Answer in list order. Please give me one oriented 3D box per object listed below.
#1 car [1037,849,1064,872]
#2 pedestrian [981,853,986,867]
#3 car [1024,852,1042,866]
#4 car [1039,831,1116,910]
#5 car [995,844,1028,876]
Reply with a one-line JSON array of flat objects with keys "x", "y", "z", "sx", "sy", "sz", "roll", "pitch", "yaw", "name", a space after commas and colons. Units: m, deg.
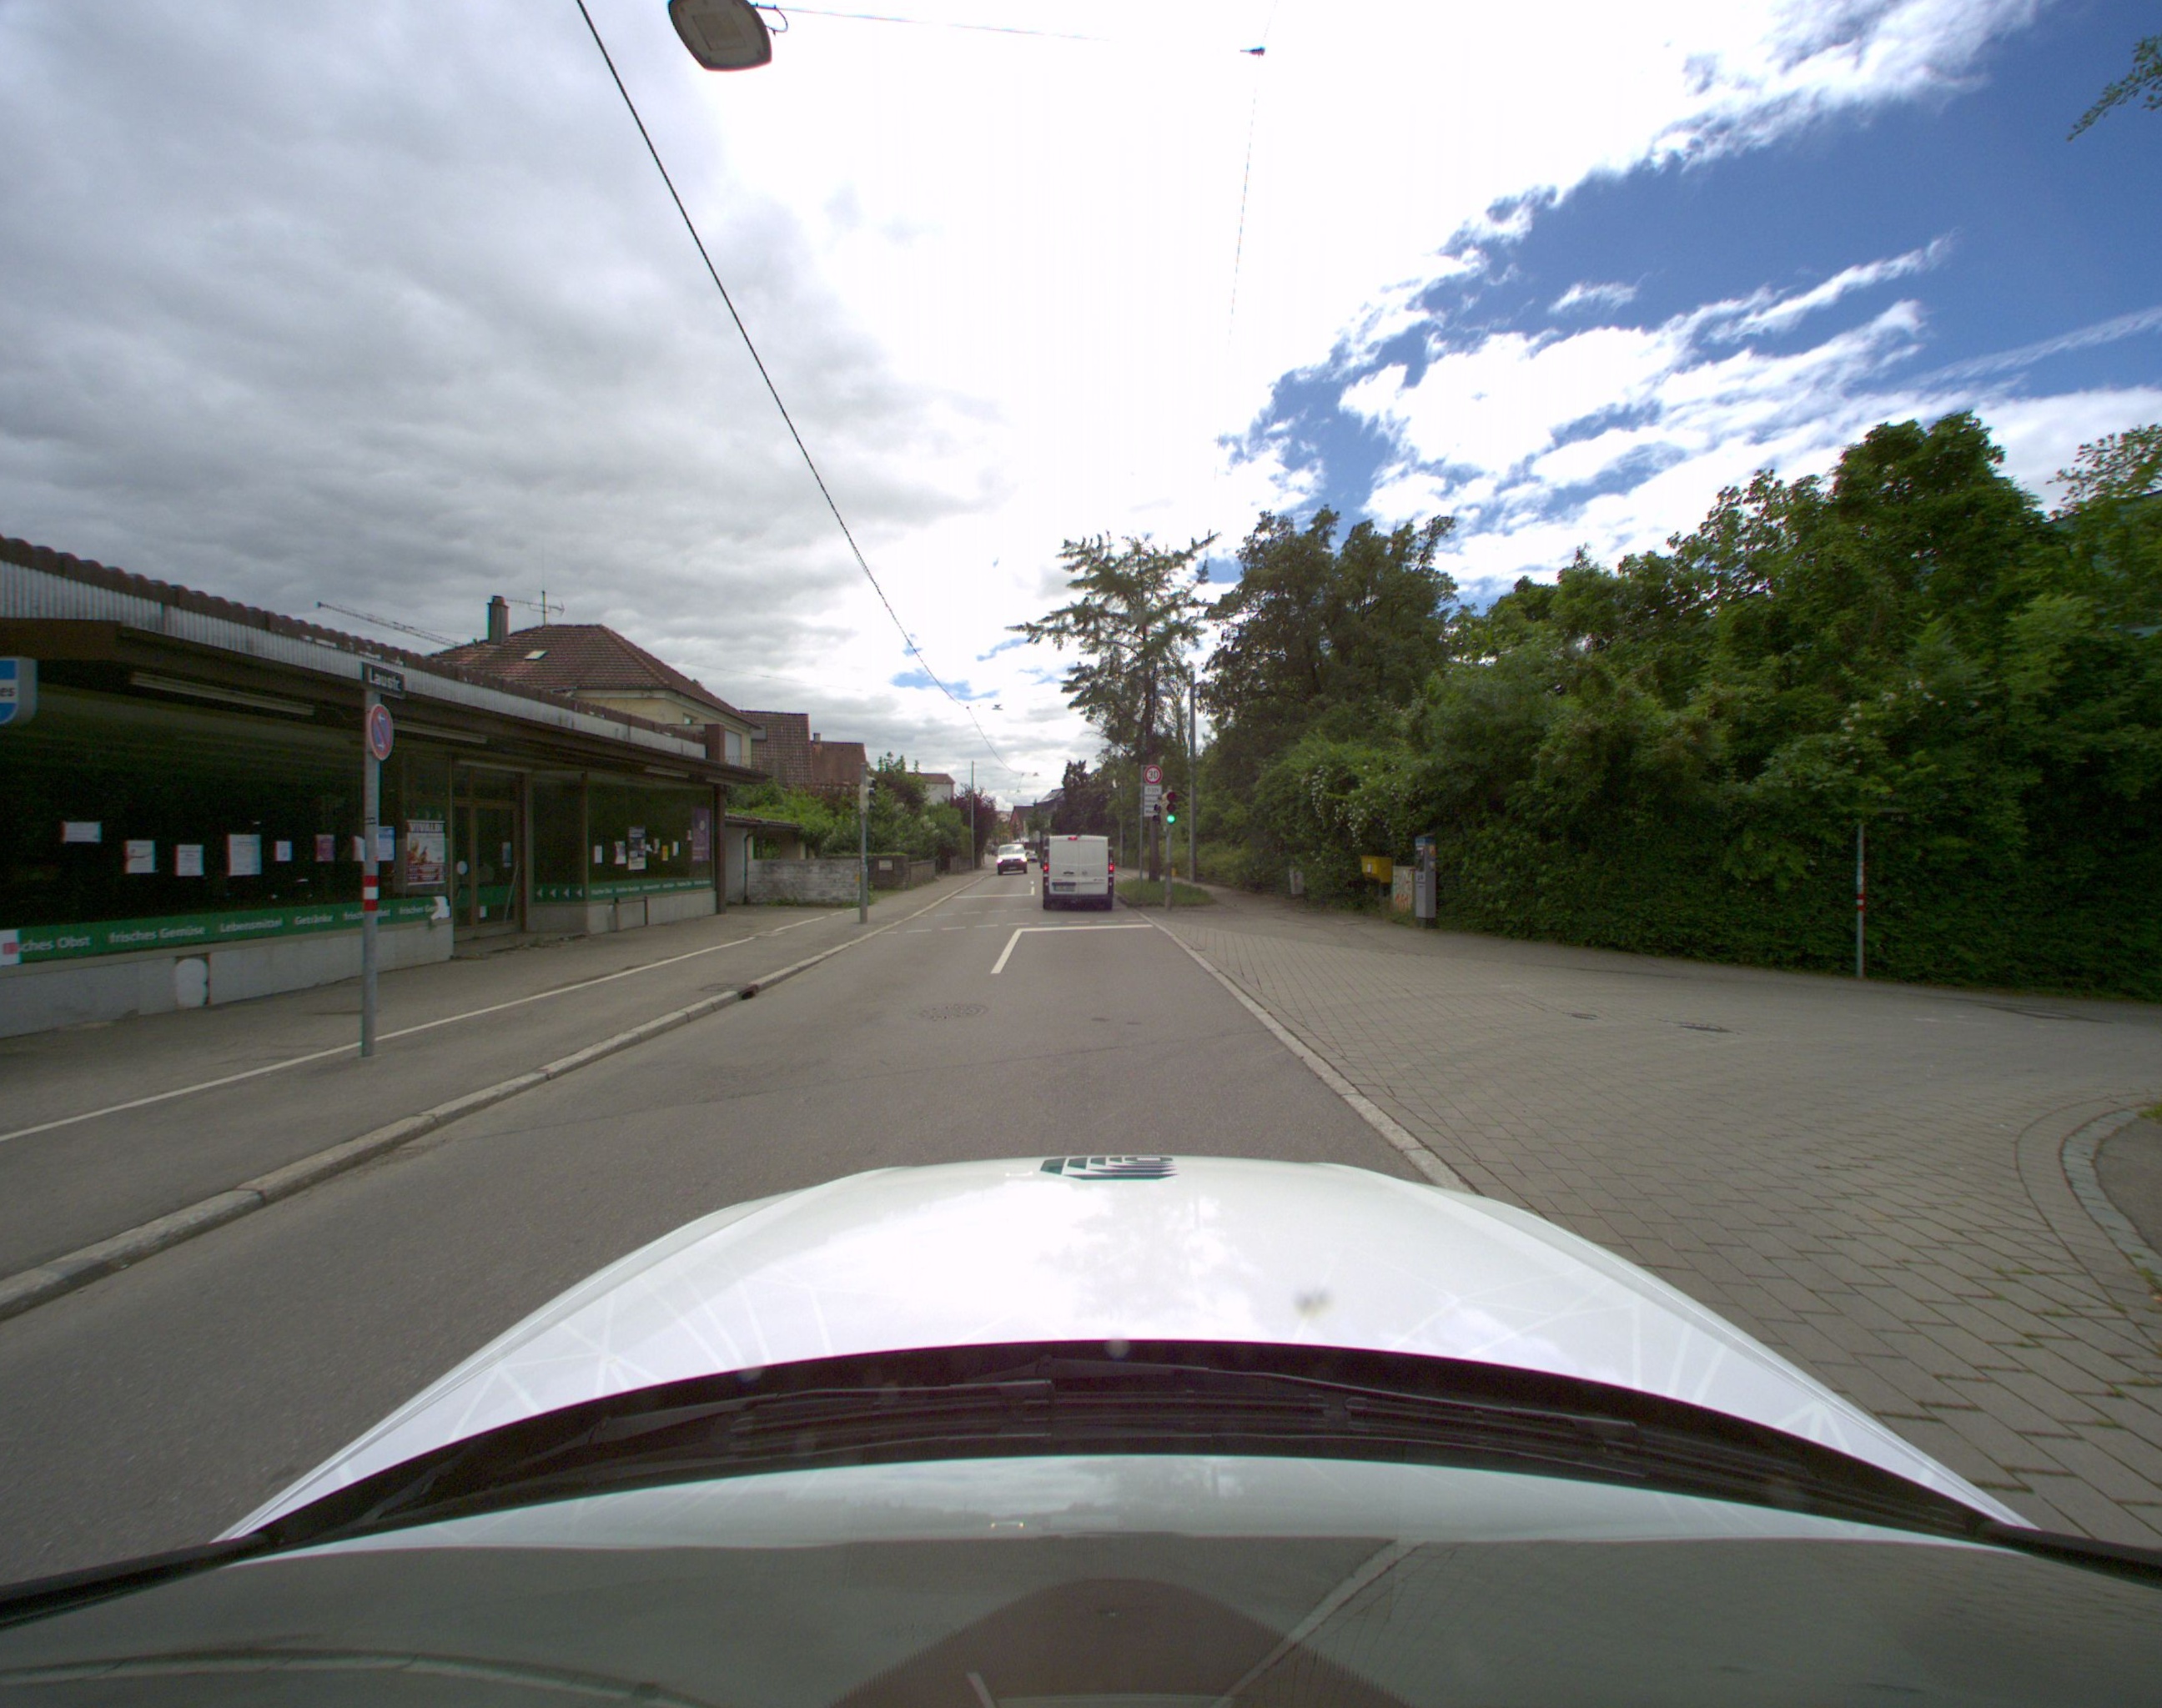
[{"x": -2.506, "y": 0.527, "z": 67.744, "sx": 1.889, "sy": 1.860, "sz": 4.406, "roll": 1, "pitch": 0, "yaw": 2, "name": "car"}, {"x": -11.505, "y": 0.724, "z": 95.995, "sx": 0.413, "sy": 1.715, "sz": 0.457, "roll": 0, "pitch": -1, "yaw": 40, "name": "pedestrian"}, {"x": -5.986, "y": 0.596, "z": 101.443, "sx": 1.825, "sy": 1.728, "sz": 3.985, "roll": 1, "pitch": -1, "yaw": -10, "name": "car"}, {"x": -0.168, "y": 0.438, "z": 22.785, "sx": 1.925, "sy": 1.964, "sz": 4.397, "roll": 1, "pitch": 0, "yaw": -2, "name": "car"}, {"x": -4.512, "y": 0.377, "z": 53.532, "sx": 1.863, "sy": 1.911, "sz": 5.110, "roll": -2, "pitch": 0, "yaw": -3, "name": "car"}]
